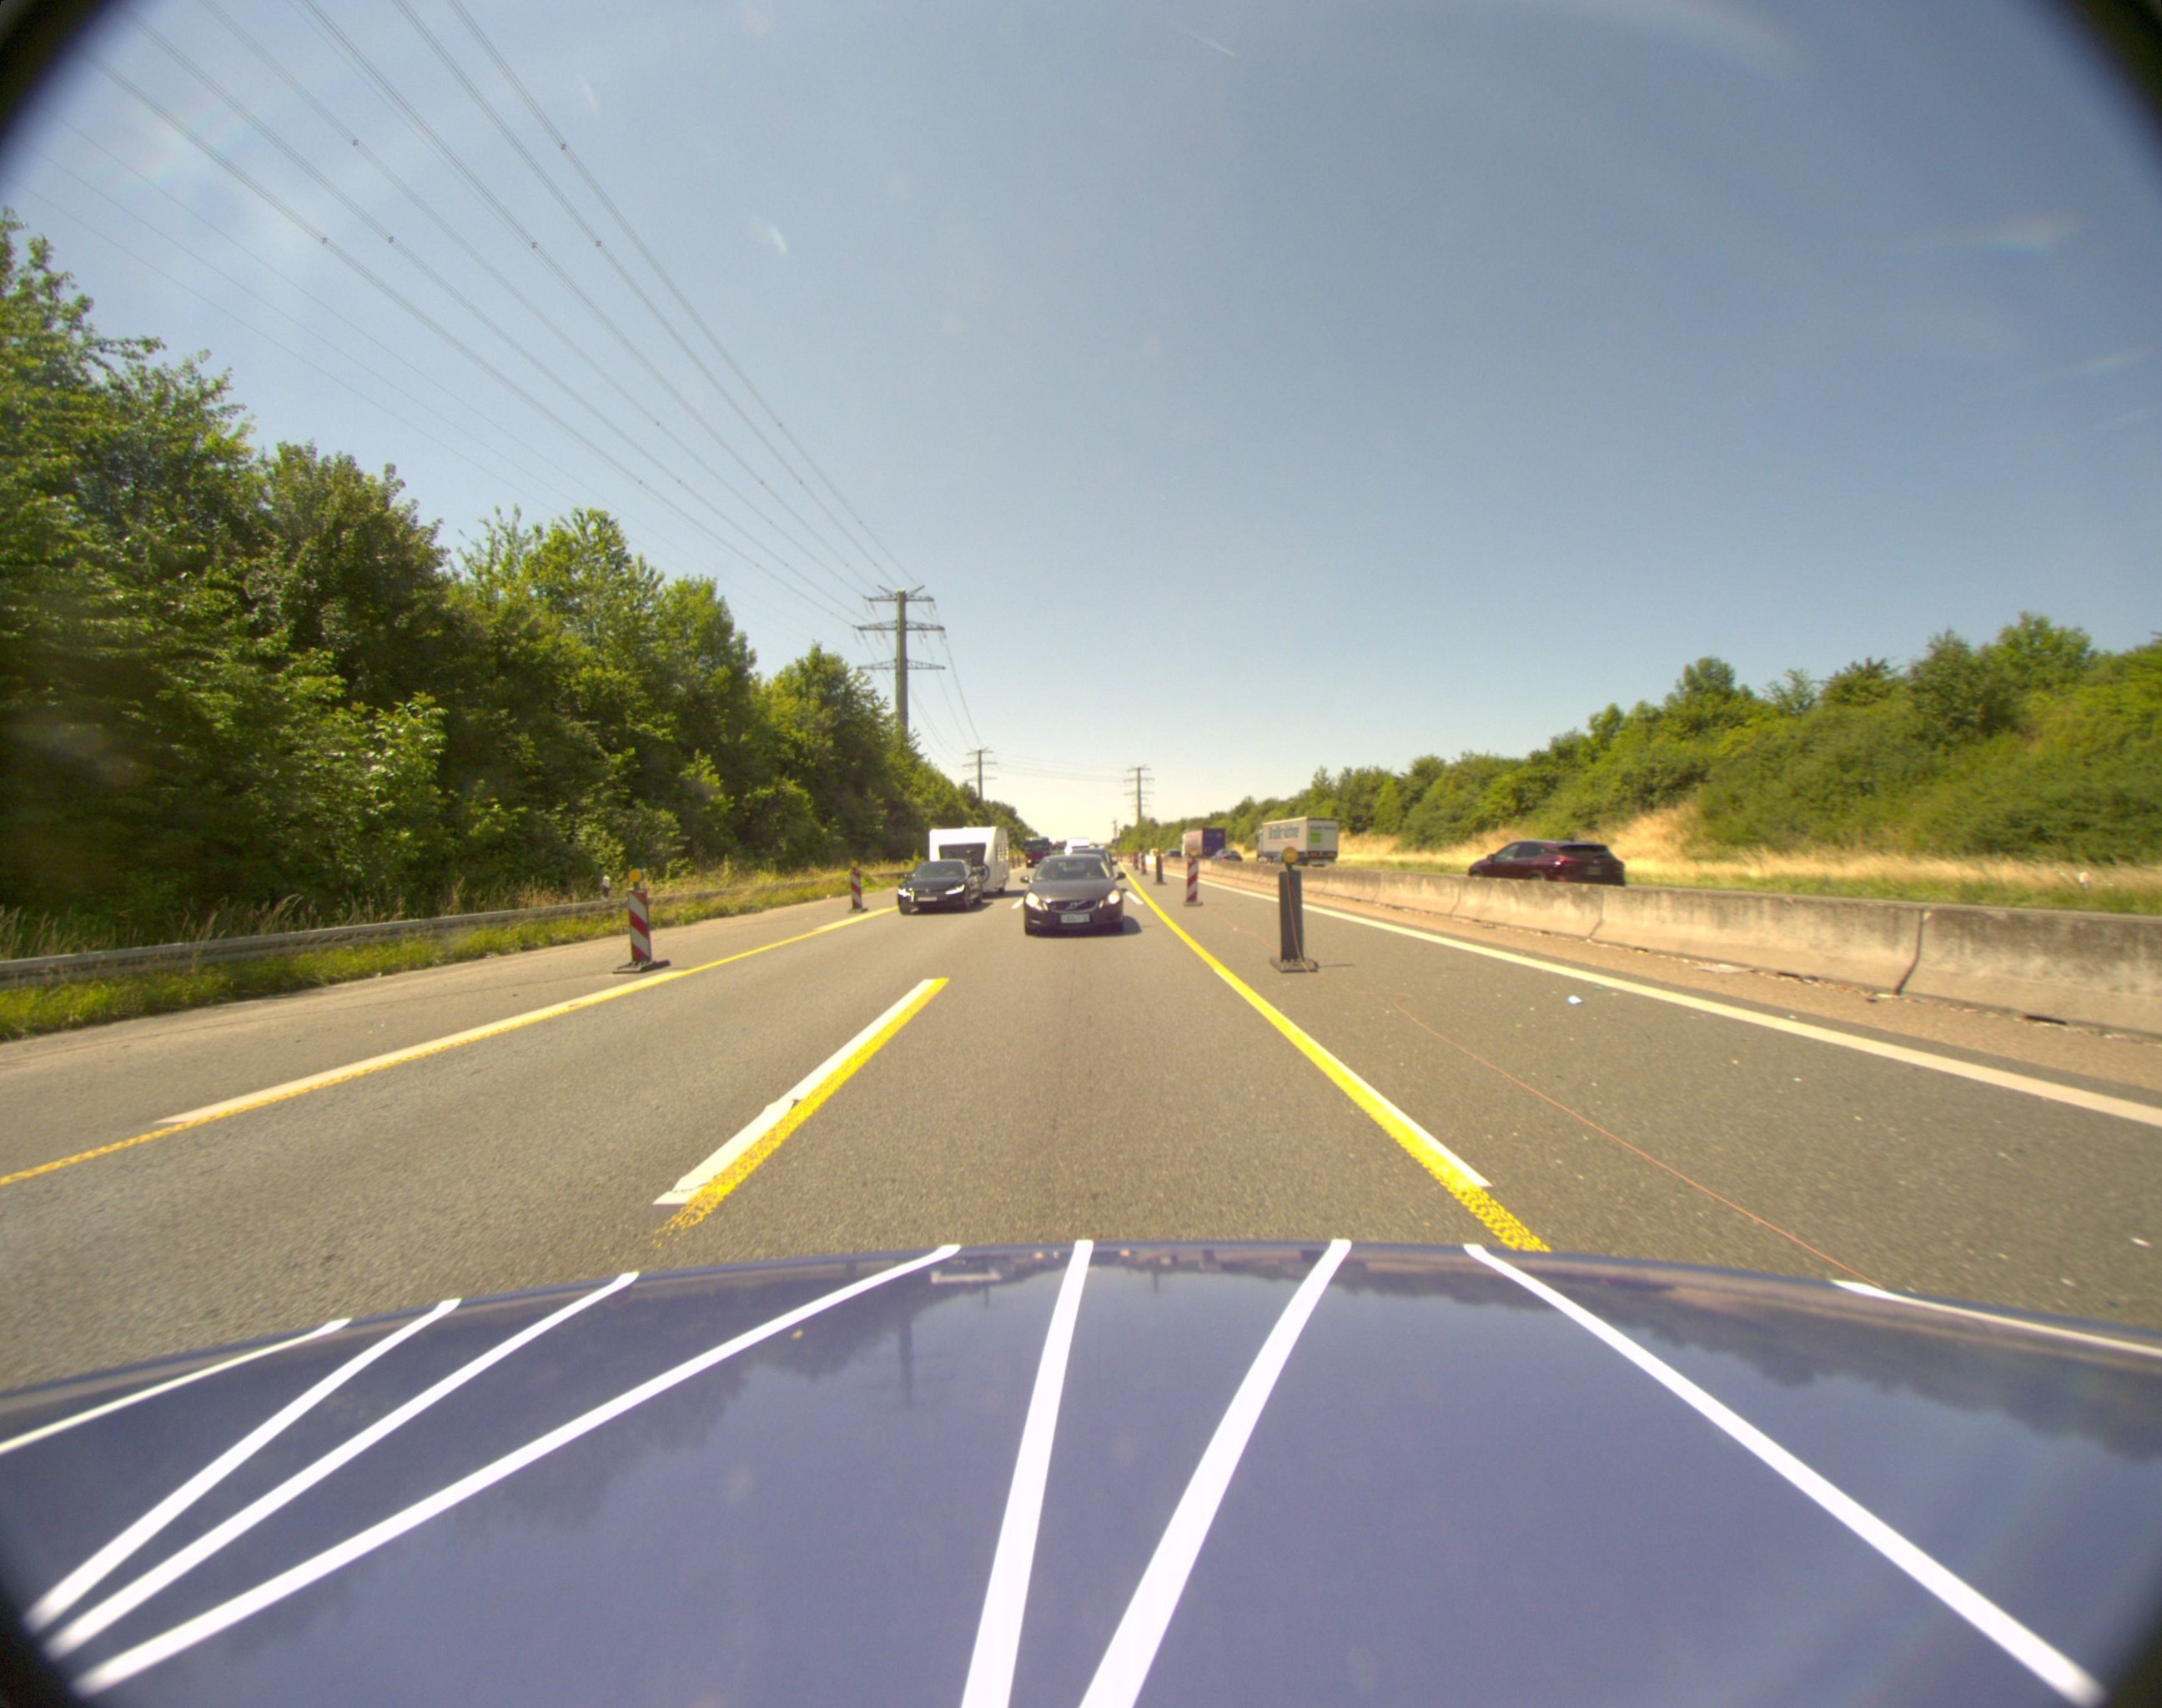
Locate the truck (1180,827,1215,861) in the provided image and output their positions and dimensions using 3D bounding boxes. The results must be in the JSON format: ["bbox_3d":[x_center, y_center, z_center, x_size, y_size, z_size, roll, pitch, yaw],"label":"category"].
[{"bbox_3d":[14.741,-1.288,96.544,3.172,4.200,7.413,-1,1,-1],"label":"truck"}]

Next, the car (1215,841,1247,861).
[{"bbox_3d":[11.528,-0.248,58.533,1.620,1.434,3.989,-1,1,0],"label":"car"}]

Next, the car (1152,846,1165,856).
[{"bbox_3d":[14.538,-0.601,142.695,1.871,1.782,5.454,-1,1,1],"label":"car"}]

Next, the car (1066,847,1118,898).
[{"bbox_3d":[0.477,0.614,28.308,1.675,1.619,4.691,-4,0,2],"label":"car"}]

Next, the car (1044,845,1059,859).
[{"bbox_3d":[-4.049,-0.240,104.680,1.850,1.810,3.925,-3,1,1],"label":"car"}]

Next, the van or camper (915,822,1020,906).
[{"bbox_3d":[-3.901,0.282,28.040,2.432,2.549,8.416,-2,1,1],"label":"van or camper"}]

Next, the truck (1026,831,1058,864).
[{"bbox_3d":[-4.053,-0.673,79.623,2.431,3.122,7.648,-4,0,2],"label":"truck"}]

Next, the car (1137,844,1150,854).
[{"bbox_3d":[10.213,-0.814,123.760,1.767,1.463,4.633,-1,1,0],"label":"car"}]

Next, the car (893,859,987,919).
[{"bbox_3d":[-3.902,0.922,21.710,1.800,1.399,4.209,-2,1,1],"label":"car"}]

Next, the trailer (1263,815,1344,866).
[{"bbox_3d":[19.239,-1.135,66.822,2.960,4.038,13.635,1,1,0],"label":"trailer"}]

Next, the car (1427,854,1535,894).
[{"bbox_3d":[16.086,0.760,30.865,1.999,1.452,4.586,-1,1,0],"label":"car"}]

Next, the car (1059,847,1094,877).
[{"bbox_3d":[-0.213,0.431,44.278,1.744,1.659,4.157,-2,0,2],"label":"car"}]

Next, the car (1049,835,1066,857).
[{"bbox_3d":[-4.315,-1.519,139.409,2.397,3.779,10.272,-3,1,1],"label":"car"}]

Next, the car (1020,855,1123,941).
[{"bbox_3d":[-0.147,0.797,15.706,1.798,1.433,4.000,-2,1,1],"label":"car"}]

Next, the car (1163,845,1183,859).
[{"bbox_3d":[11.042,-0.268,91.302,1.846,1.705,4.395,-1,1,0],"label":"car"}]

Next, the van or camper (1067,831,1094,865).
[{"bbox_3d":[0.006,-0.488,60.586,1.998,2.604,5.629,0,1,2],"label":"van or camper"}]

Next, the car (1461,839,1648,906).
[{"bbox_3d":[11.494,0.377,18.901,1.853,1.452,4.488,-1,1,0],"label":"car"}]

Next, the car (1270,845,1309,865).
[{"bbox_3d":[15.101,0.059,55.195,1.507,1.388,4.088,-1,1,-2],"label":"car"}]

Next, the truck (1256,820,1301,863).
[{"bbox_3d":[19.135,-1.179,73.903,2.953,4.053,5.195,0,1,-1],"label":"truck"}]

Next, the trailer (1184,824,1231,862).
[{"bbox_3d":[14.801,-1.233,90.059,3.168,4.156,13.681,-1,1,-1],"label":"trailer"}]
